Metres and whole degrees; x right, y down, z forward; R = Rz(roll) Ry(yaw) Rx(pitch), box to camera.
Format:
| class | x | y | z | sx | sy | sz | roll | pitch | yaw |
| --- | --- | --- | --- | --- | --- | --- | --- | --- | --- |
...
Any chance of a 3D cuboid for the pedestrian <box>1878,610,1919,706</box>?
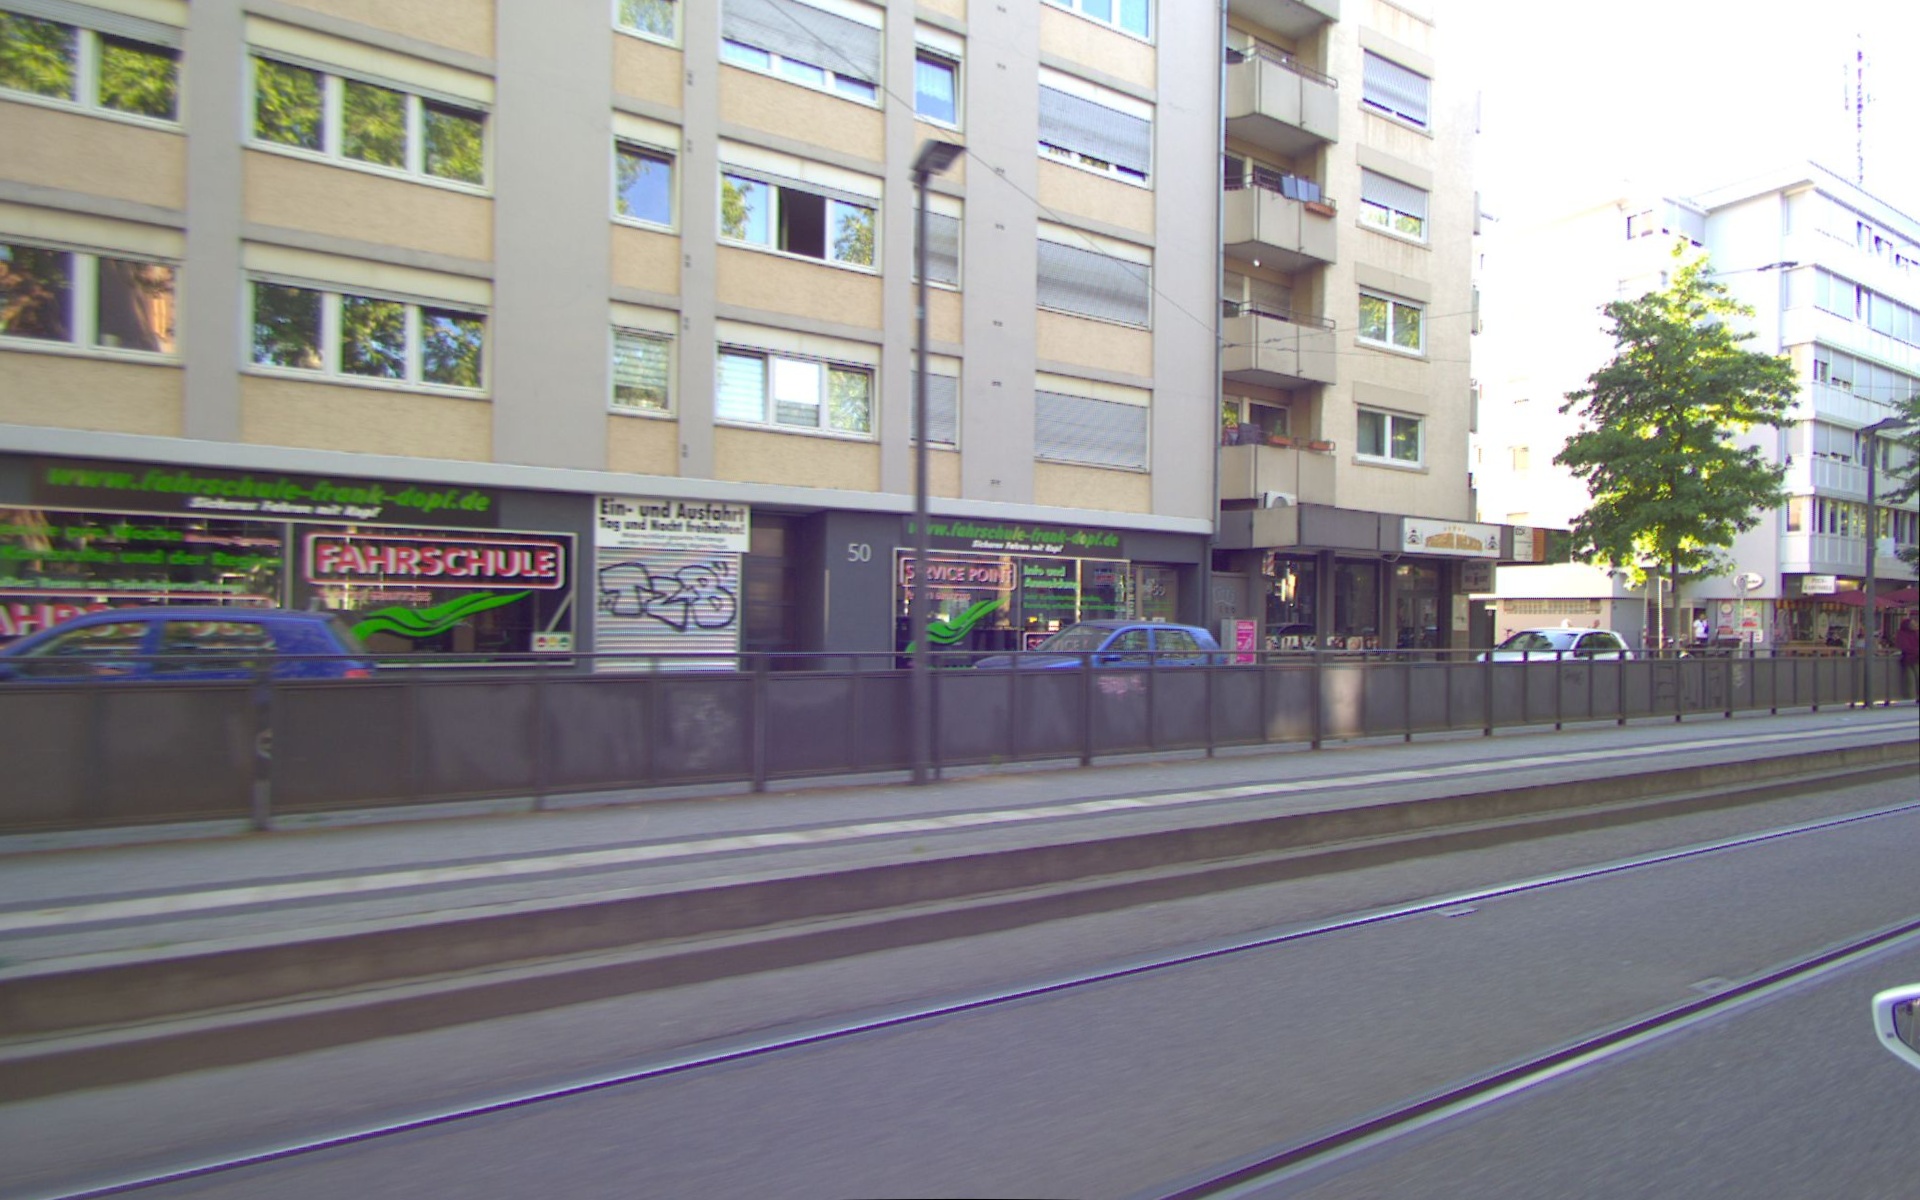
| class | x | y | z | sx | sy | sz | roll | pitch | yaw |
| --- | --- | --- | --- | --- | --- | --- | --- | --- | --- |
| pedestrian | 16.324 | 0.985 | 17.228 | 0.763 | 1.606 | 0.651 | 1 | -1 | -30 |

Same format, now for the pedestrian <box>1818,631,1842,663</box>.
| class | x | y | z | sx | sy | sz | roll | pitch | yaw |
| --- | --- | --- | --- | --- | --- | --- | --- | --- | --- |
| pedestrian | 32.822 | 1.765 | 37.882 | 0.553 | 1.214 | 0.513 | 0 | -1 | 25 |

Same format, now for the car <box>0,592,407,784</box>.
| class | x | y | z | sx | sy | sz | roll | pitch | yaw |
| --- | --- | --- | --- | --- | --- | --- | --- | --- | --- |
| car | -7.320 | 0.715 | 8.864 | 4.231 | 1.483 | 1.786 | 1 | -2 | -30 |

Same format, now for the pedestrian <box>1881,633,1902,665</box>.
| class | x | y | z | sx | sy | sz | roll | pitch | yaw |
| --- | --- | --- | --- | --- | --- | --- | --- | --- | --- |
| pedestrian | 36.219 | 1.914 | 39.063 | 0.504 | 1.214 | 0.562 | 0 | -1 | 31 |

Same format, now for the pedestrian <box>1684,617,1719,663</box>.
| class | x | y | z | sx | sy | sz | roll | pitch | yaw |
| --- | --- | --- | --- | --- | --- | --- | --- | --- | --- |
| pedestrian | 27.622 | 1.483 | 37.423 | 0.756 | 1.681 | 0.747 | 1 | -1 | -15 |

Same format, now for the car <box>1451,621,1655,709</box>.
| class | x | y | z | sx | sy | sz | roll | pitch | yaw |
| --- | --- | --- | --- | --- | --- | --- | --- | --- | --- |
| car | 12.408 | 1.300 | 20.971 | 4.309 | 1.673 | 1.868 | 1 | -2 | -31 |

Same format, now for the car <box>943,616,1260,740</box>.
| class | x | y | z | sx | sy | sz | roll | pitch | yaw |
| --- | --- | --- | --- | --- | --- | --- | --- | --- | --- |
| car | 2.098 | 1.061 | 14.648 | 4.337 | 1.564 | 1.947 | 1 | -2 | -30 |

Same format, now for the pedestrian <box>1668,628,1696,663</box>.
| class | x | y | z | sx | sy | sz | roll | pitch | yaw |
| --- | --- | --- | --- | --- | --- | --- | --- | --- | --- |
| pedestrian | 26.646 | 1.681 | 37.078 | 0.735 | 1.258 | 0.768 | 0 | -1 | 26 |

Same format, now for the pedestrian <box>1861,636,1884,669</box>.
| class | x | y | z | sx | sy | sz | roll | pitch | yaw |
| --- | --- | --- | --- | --- | --- | --- | --- | --- | --- |
| pedestrian | 34.365 | 1.975 | 37.827 | 0.557 | 1.214 | 0.509 | 1 | -1 | -28 |

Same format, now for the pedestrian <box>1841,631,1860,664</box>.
| class | x | y | z | sx | sy | sz | roll | pitch | yaw |
| --- | --- | --- | --- | --- | --- | --- | --- | --- | --- |
| pedestrian | 32.869 | 1.752 | 37.092 | 0.506 | 1.214 | 0.560 | 0 | -1 | 44 |

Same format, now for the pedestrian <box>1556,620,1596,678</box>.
| class | x | y | z | sx | sy | sz | roll | pitch | yaw |
| --- | --- | --- | --- | --- | --- | --- | --- | --- | --- |
| pedestrian | 16.881 | 1.329 | 27.534 | 0.718 | 1.577 | 0.720 | 1 | -1 | -35 |

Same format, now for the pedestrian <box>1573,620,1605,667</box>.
| class | x | y | z | sx | sy | sz | roll | pitch | yaw |
| --- | --- | --- | --- | --- | --- | --- | --- | --- | --- |
| pedestrian | 22.789 | 1.564 | 36.370 | 0.761 | 1.693 | 0.752 | 1 | -1 | -35 |
